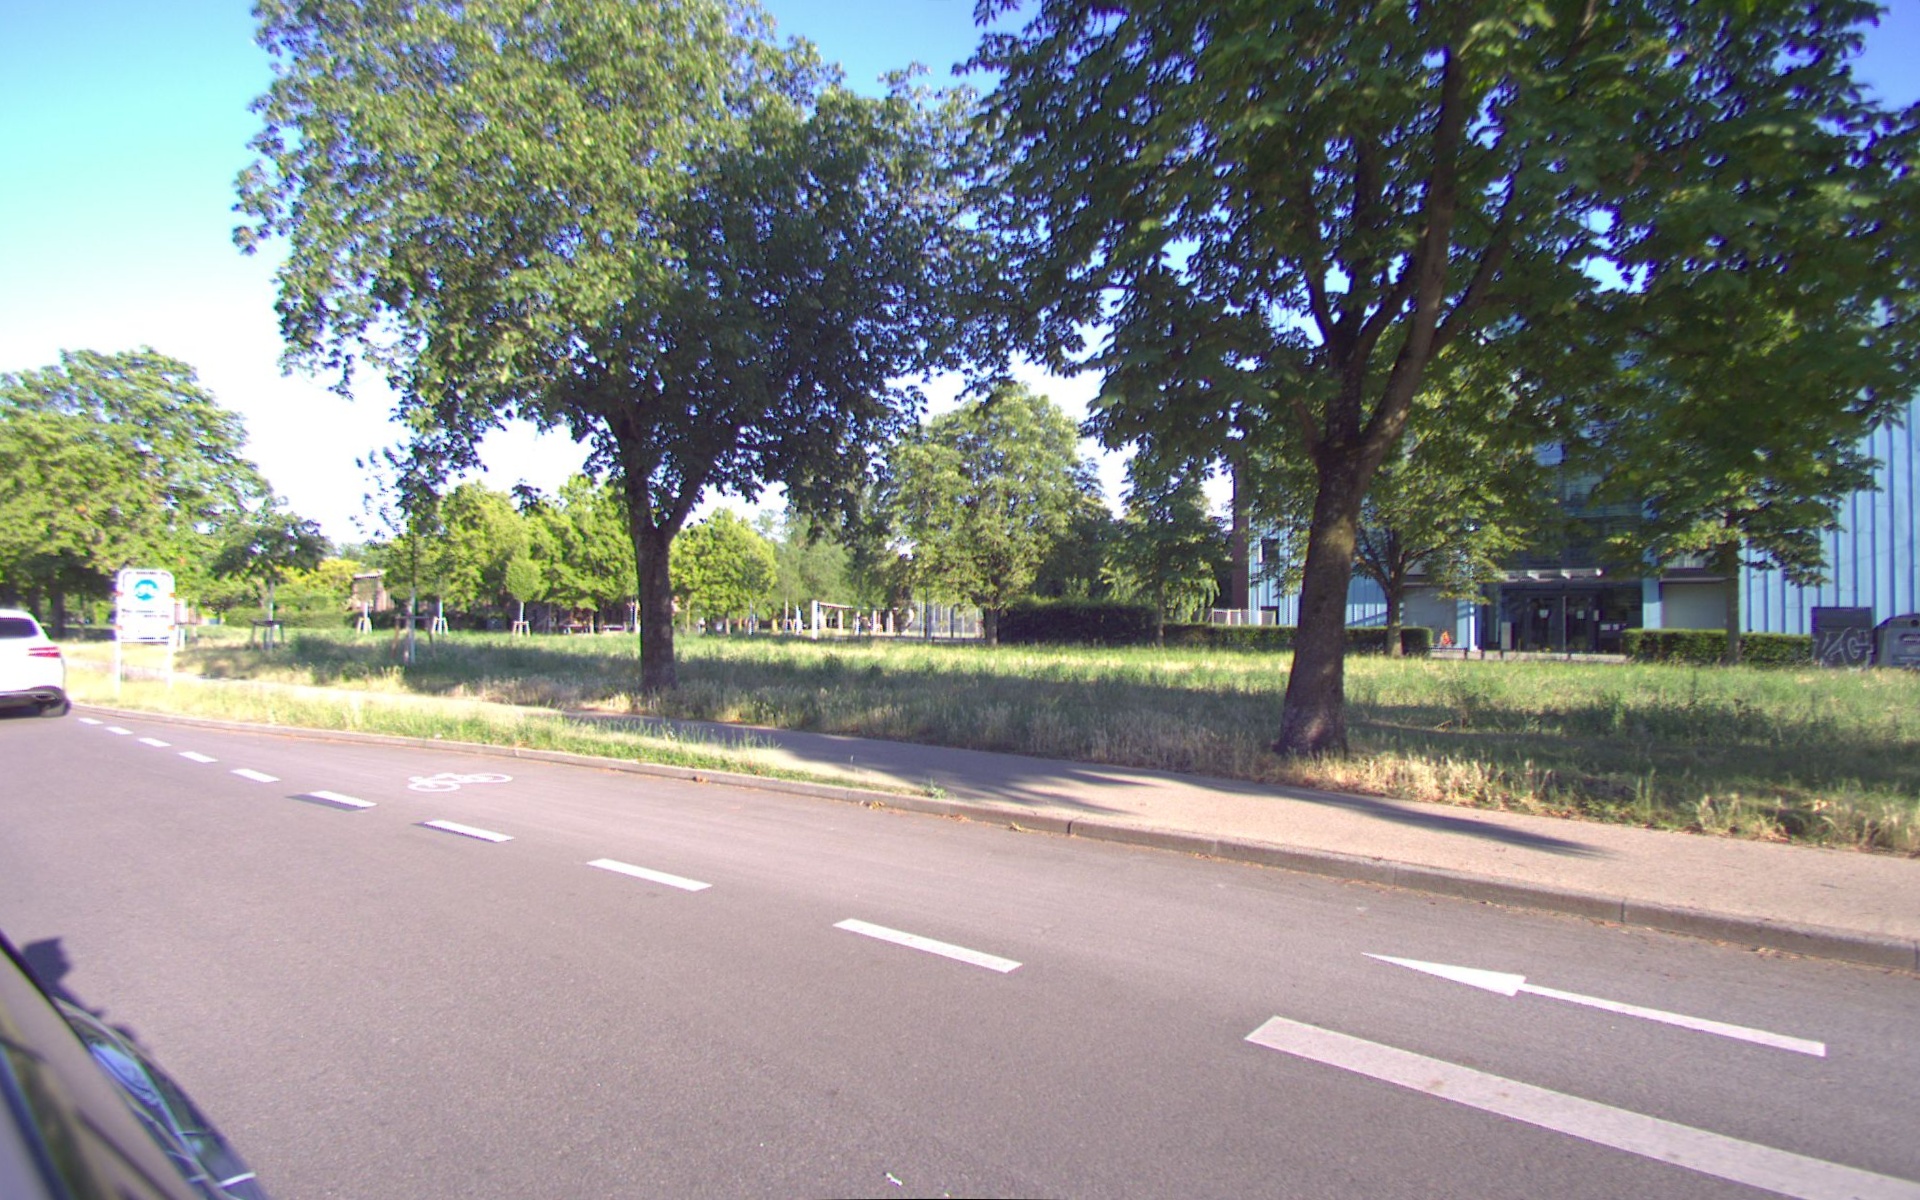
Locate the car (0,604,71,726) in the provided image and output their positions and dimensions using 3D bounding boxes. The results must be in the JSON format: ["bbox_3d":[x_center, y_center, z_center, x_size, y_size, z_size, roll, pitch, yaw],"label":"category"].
[{"bbox_3d":[-15.142,0.924,15.285,4.420,1.689,1.872,-1,-1,39],"label":"car"}]
